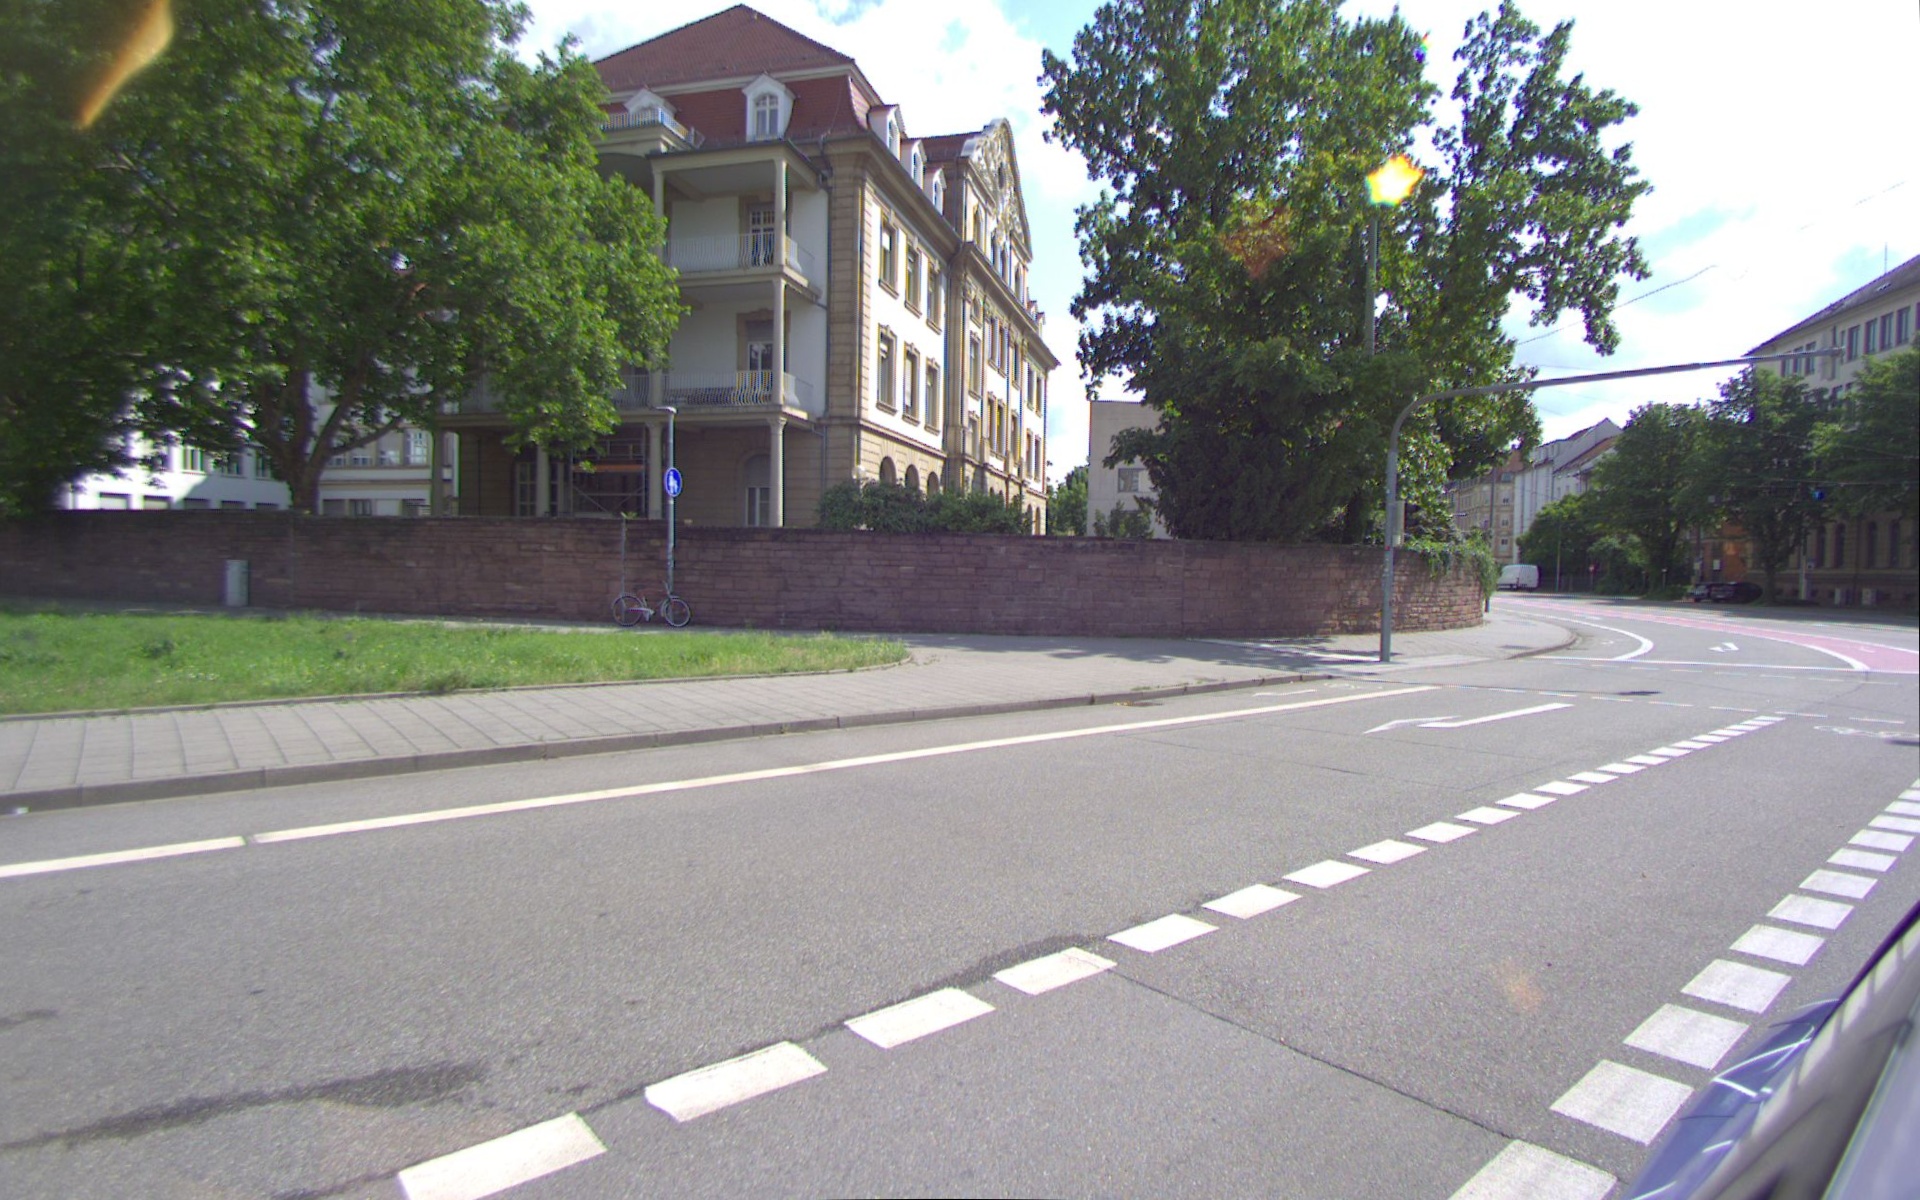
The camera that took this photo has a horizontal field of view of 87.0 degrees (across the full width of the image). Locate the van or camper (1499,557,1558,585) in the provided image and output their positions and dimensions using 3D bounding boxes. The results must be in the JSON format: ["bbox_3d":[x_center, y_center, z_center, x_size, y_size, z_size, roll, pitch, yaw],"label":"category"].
[{"bbox_3d":[56.295,-2.904,100.468,2.928,2.634,6.741,2,2,10],"label":"van or camper"}]

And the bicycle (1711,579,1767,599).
[{"bbox_3d":[54.202,-0.769,70.452,1.030,1.221,2.898,-4,4,-32],"label":"bicycle"}]

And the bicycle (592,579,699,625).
[{"bbox_3d":[-6.736,0.023,21.737,2.023,0.871,0.858,2,4,4],"label":"bicycle"}]

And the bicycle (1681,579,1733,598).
[{"bbox_3d":[54.387,-0.821,73.707,1.052,1.221,2.898,-4,4,-32],"label":"bicycle"}]
